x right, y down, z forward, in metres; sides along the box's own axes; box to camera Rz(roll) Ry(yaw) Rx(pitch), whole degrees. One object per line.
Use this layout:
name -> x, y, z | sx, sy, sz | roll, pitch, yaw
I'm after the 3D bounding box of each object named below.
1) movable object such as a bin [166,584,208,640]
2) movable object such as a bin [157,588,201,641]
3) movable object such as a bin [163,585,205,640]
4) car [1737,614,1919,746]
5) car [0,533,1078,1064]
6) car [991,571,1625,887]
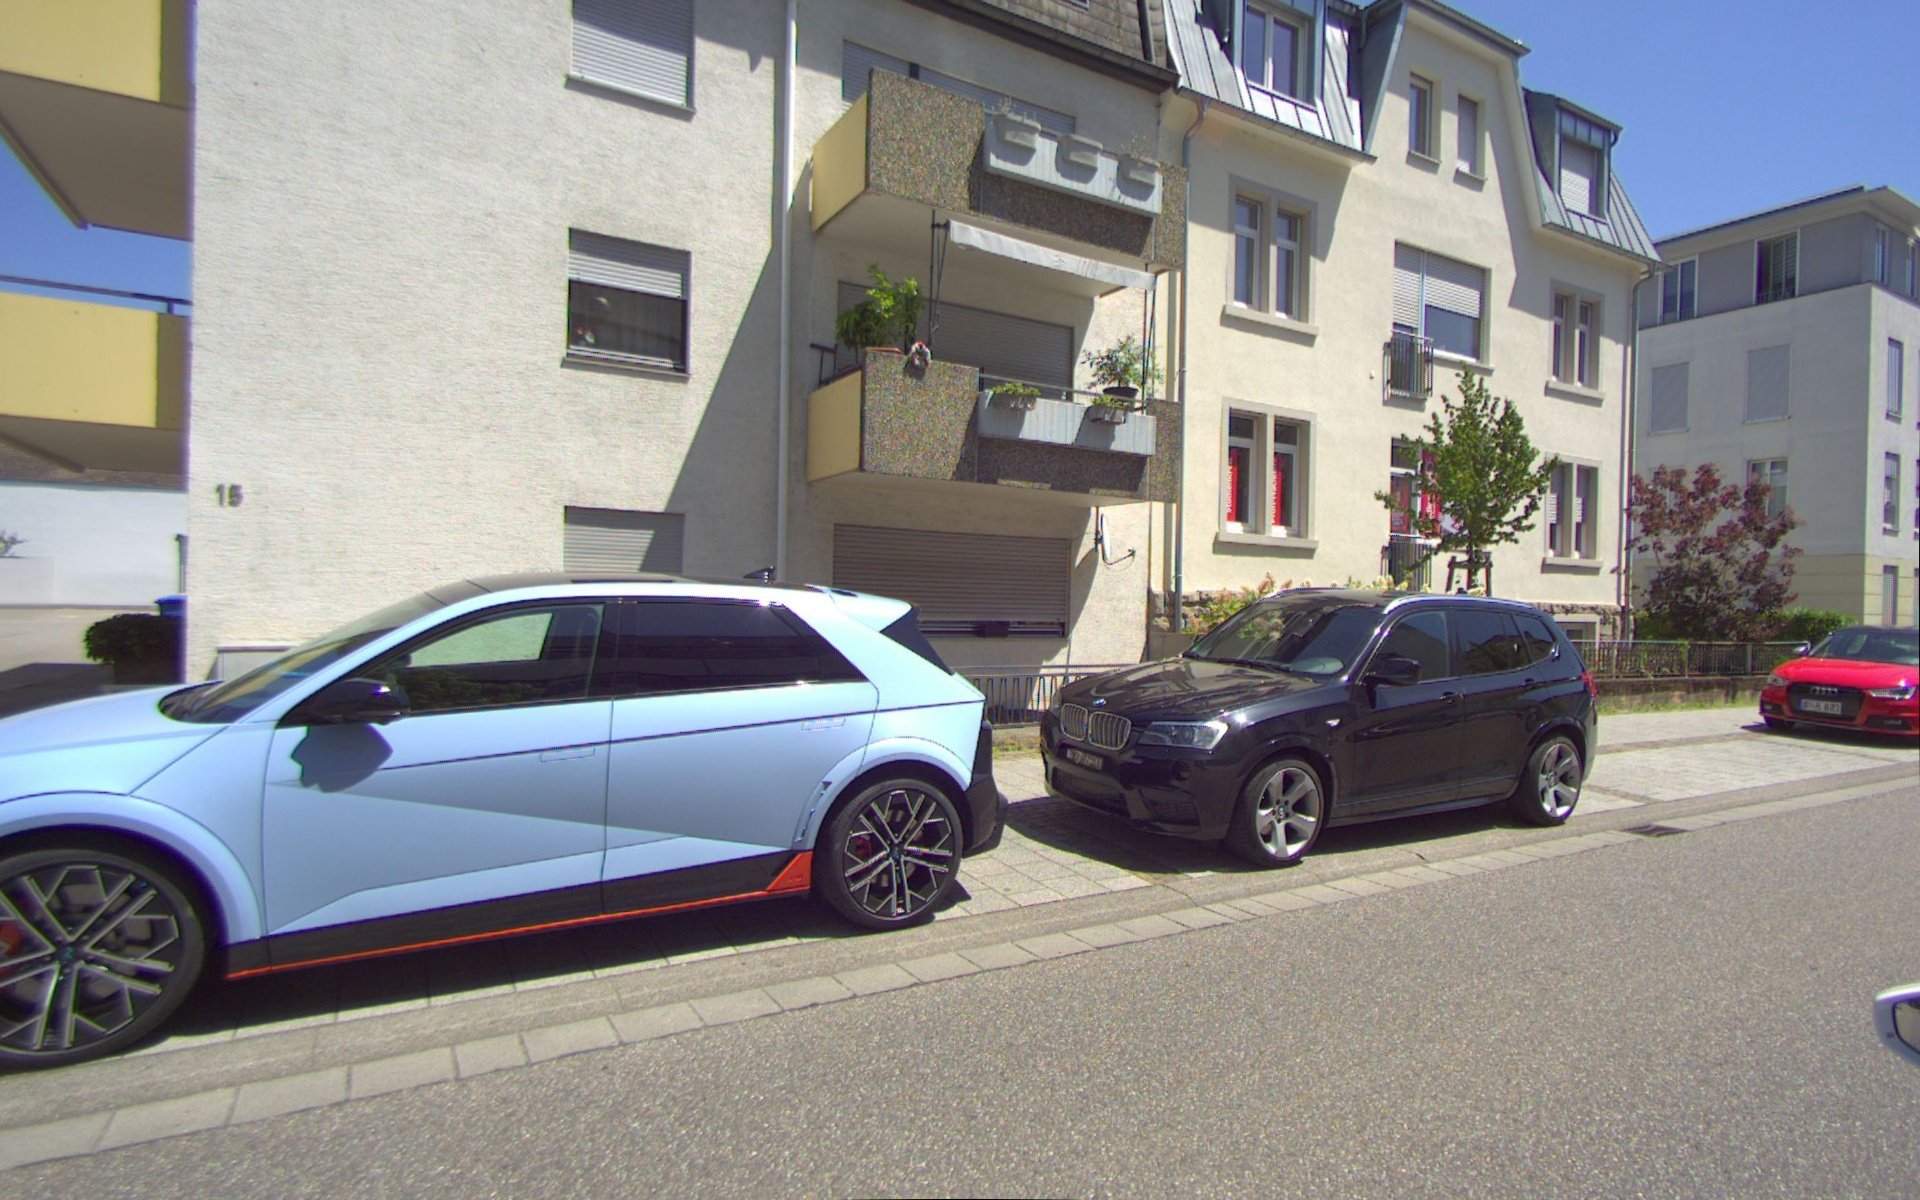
movable object such as a bin -> -16.948, 0.266, 22.031 | 0.637, 1.199, 0.492 | 1, 0, -30
movable object such as a bin -> -16.368, 0.299, 21.070 | 0.637, 1.091, 0.492 | 1, 0, -30
movable object such as a bin -> -16.634, 0.265, 21.541 | 0.637, 1.144, 0.492 | 1, 0, -30
car -> 12.266, 0.992, 13.326 | 3.858, 1.438, 1.642 | 2, 2, -29
car -> -1.901, 0.608, 4.710 | 4.604, 1.594, 1.916 | 2, 2, -30
car -> 2.618, 0.726, 7.242 | 4.517, 1.641, 1.716 | 2, 3, -30
